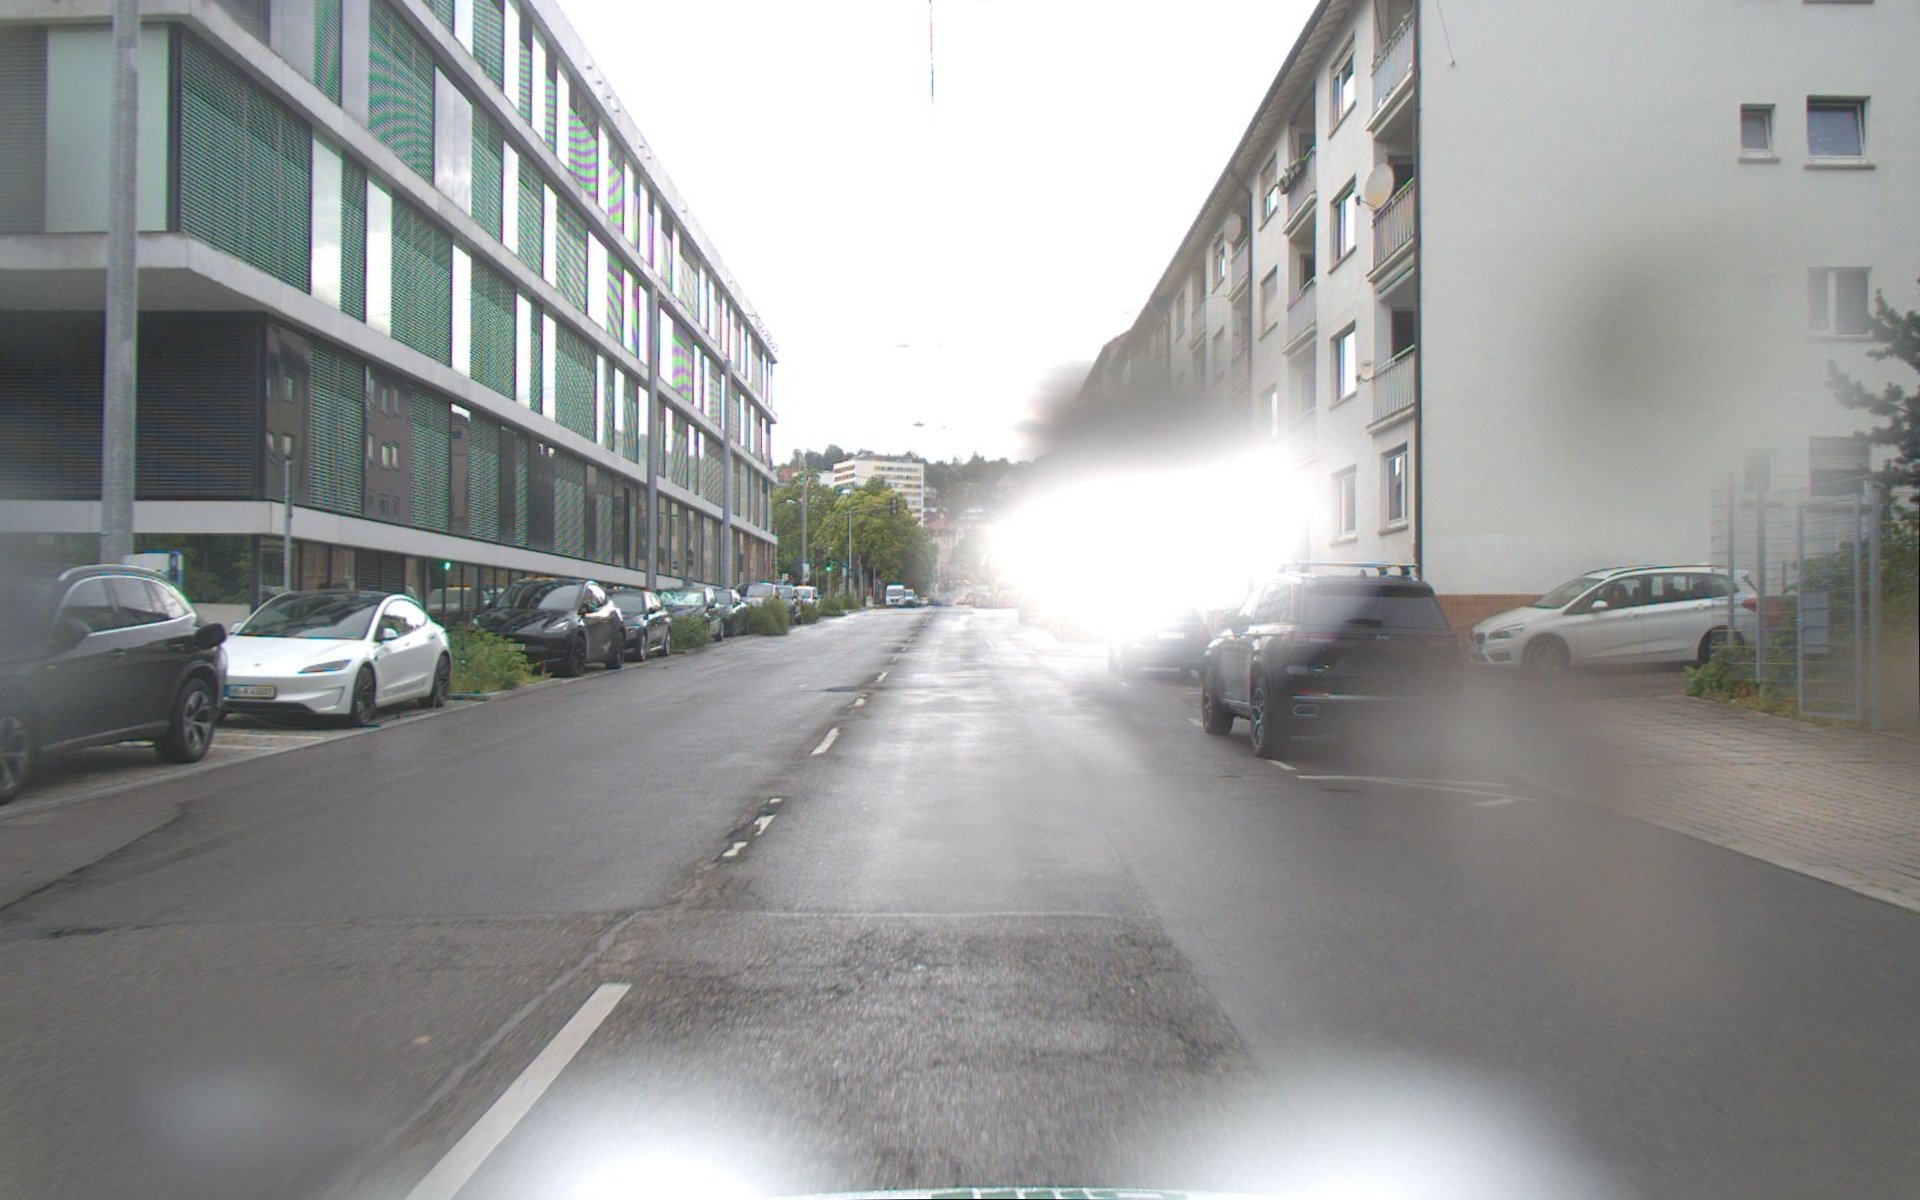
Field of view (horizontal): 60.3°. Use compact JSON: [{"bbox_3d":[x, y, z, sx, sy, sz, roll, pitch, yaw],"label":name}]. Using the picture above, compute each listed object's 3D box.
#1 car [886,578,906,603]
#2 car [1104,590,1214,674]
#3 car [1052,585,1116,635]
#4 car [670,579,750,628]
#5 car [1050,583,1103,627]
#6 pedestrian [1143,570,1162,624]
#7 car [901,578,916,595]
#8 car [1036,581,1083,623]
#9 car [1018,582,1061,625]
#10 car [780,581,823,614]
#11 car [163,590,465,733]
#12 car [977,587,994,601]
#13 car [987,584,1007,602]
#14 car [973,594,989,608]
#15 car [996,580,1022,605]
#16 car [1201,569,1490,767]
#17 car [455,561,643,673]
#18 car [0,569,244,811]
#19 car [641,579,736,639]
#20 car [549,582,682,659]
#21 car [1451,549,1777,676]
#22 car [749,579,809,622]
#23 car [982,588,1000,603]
[{"bbox_3d":[-6.973,-1.014,179.616,2.063,2.591,4.748,1,0,-2],"label":"car"},{"bbox_3d":[3.821,0.576,32.258,1.639,1.485,3.764,1,1,-1],"label":"car"},{"bbox_3d":[3.844,0.296,51.873,1.671,1.479,3.984,1,0,0],"label":"car"},{"bbox_3d":[-7.672,0.102,51.124,1.800,1.420,4.392,1,0,0],"label":"car"},{"bbox_3d":[4.001,0.153,57.182,1.550,1.438,3.653,1,0,0],"label":"car"},{"bbox_3d":[6.849,-0.111,58.854,0.626,1.903,0.538,1,0,2],"label":"pedestrian"},{"bbox_3d":[-6.764,-1.767,218.483,1.830,2.178,4.355,1,0,-4],"label":"car"},{"bbox_3d":[3.928,0.085,65.796,1.601,1.598,3.710,1,0,0],"label":"car"},{"bbox_3d":[3.475,0.130,72.499,1.621,1.768,4.179,1,1,-1],"label":"car"},{"bbox_3d":[-7.433,-0.135,77.731,1.562,1.485,3.720,1,1,1],"label":"car"},{"bbox_3d":[-7.352,0.627,19.352,1.784,1.443,4.402,1,0,0],"label":"car"},{"bbox_3d":[3.012,-0.698,194.116,1.828,1.632,4.191,1,0,3],"label":"car"},{"bbox_3d":[3.555,-0.668,159.400,1.828,1.632,4.191,1,0,3],"label":"car"},{"bbox_3d":[2.618,0.149,202.267,1.828,1.632,4.191,1,0,3],"label":"car"},{"bbox_3d":[3.699,-0.575,124.063,1.828,1.801,4.191,1,0,3],"label":"car"},{"bbox_3d":[3.883,0.615,17.544,1.896,1.780,4.796,1,0,0],"label":"car"},{"bbox_3d":[-7.184,0.268,29.484,1.922,1.780,4.943,1,0,2],"label":"car"},{"bbox_3d":[-7.403,0.587,12.722,1.811,1.646,4.490,1,0,0],"label":"car"},{"bbox_3d":[-7.290,0.226,44.781,1.825,1.515,4.346,1,0,0],"label":"car"},{"bbox_3d":[-7.291,0.404,35.434,1.833,1.498,4.740,1,0,0],"label":"car"},{"bbox_3d":[10.258,0.183,26.155,4.348,1.742,1.904,-3,0,-1],"label":"car"},{"bbox_3d":[-7.280,0.036,66.811,1.764,1.632,4.235,1,0,3],"label":"car"},{"bbox_3d":[3.376,-0.492,178.923,1.828,1.632,4.191,1,0,3],"label":"car"}]
